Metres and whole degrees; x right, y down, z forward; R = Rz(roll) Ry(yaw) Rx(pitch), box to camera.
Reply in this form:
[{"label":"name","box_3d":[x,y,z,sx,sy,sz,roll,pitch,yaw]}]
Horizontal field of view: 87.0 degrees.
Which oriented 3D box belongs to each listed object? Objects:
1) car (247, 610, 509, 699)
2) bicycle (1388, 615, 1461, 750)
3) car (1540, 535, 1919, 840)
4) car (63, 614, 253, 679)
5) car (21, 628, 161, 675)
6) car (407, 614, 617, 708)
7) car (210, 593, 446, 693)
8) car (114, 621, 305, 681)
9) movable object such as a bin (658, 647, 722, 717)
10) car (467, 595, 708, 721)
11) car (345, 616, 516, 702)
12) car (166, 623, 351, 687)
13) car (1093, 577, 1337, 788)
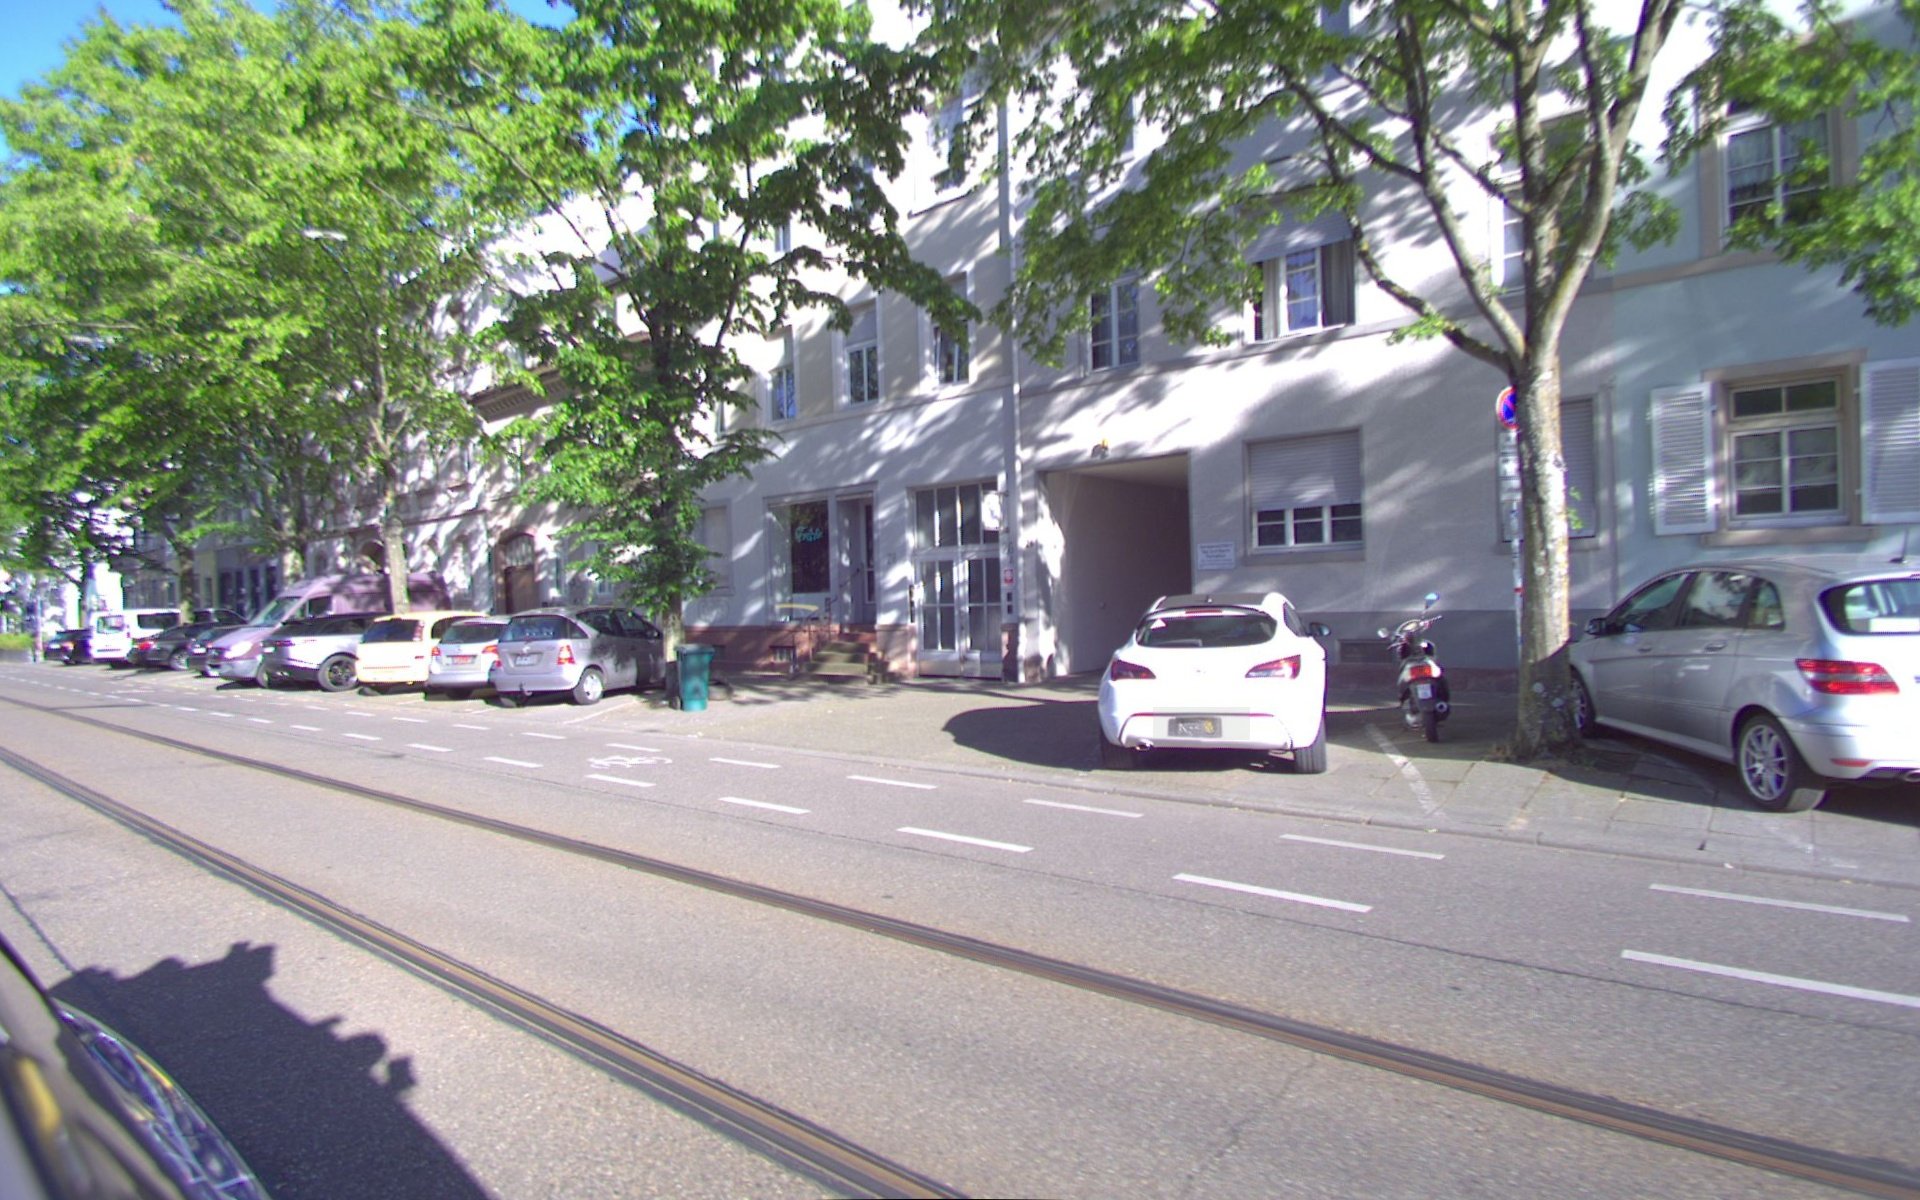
[{"label":"car","box_3d":[-13.252,1.163,23.325,2.160,1.737,4.784,-2,-1,37]},{"label":"bicycle","box_3d":[4.364,0.730,9.563,0.433,1.168,1.465,-2,-1,18]},{"label":"car","box_3d":[6.149,0.413,7.555,1.790,1.668,3.989,-3,1,10]},{"label":"car","box_3d":[-27.684,1.558,35.191,2.056,2.029,4.914,-2,-1,16]},{"label":"car","box_3d":[-34.336,2.013,40.123,1.762,1.569,3.988,-2,1,10]},{"label":"car","box_3d":[-8.290,1.082,19.182,1.683,1.564,4.160,-1,-1,9]},{"label":"car","box_3d":[-15.275,0.967,24.673,2.160,2.134,4.395,-2,0,37]},{"label":"car","box_3d":[-24.536,1.629,33.254,1.950,1.588,4.655,-3,0,35]},{"label":"movable object such as a bin","box_3d":[-3.925,1.173,14.706,0.669,0.952,0.615,-2,-1,39]},{"label":"car","box_3d":[-6.253,0.908,17.512,1.689,1.689,3.975,-2,3,19]},{"label":"car","box_3d":[-10.828,1.152,20.934,1.369,1.564,3.364,-2,0,10]},{"label":"car","box_3d":[-19.968,1.522,28.995,1.661,1.464,4.066,-2,1,24]},{"label":"car","box_3d":[2.615,0.621,9.824,1.872,1.541,3.624,-2,2,20]}]
